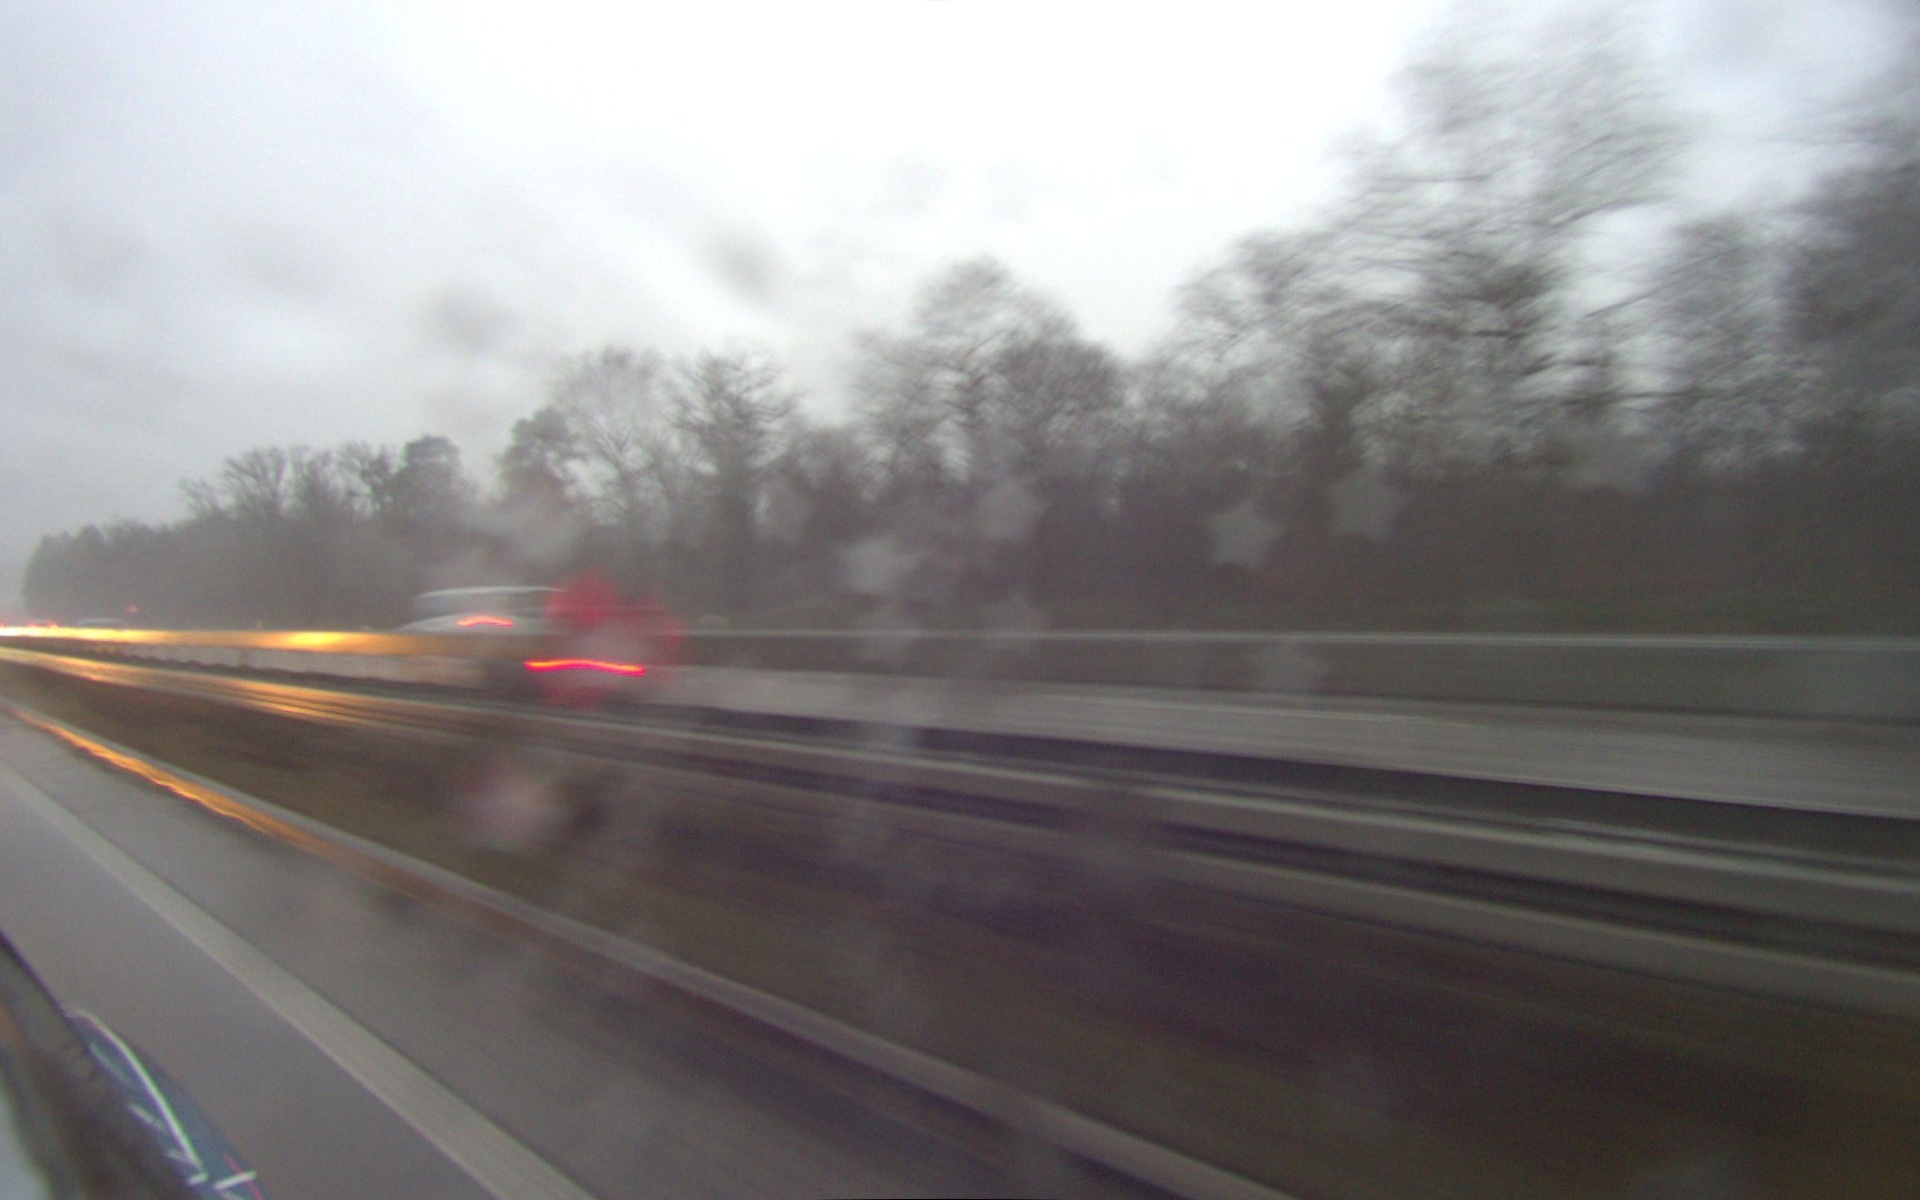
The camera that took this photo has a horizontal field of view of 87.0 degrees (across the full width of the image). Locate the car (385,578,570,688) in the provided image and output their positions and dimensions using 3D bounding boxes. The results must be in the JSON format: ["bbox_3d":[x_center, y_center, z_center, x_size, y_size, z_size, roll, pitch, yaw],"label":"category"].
[{"bbox_3d":[-11.508,0.717,23.915,5.459,2.334,2.009,-1,0,42],"label":"car"}]

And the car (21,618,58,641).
[{"bbox_3d":[-72.293,2.316,79.463,4.424,1.760,1.702,-1,0,42],"label":"car"}]

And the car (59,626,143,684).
[{"bbox_3d":[-32.268,2.014,37.963,4.816,1.971,1.724,-1,0,41],"label":"car"}]

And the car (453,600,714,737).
[{"bbox_3d":[-4.825,0.762,12.778,3.522,1.479,1.614,-1,0,41],"label":"car"}]
